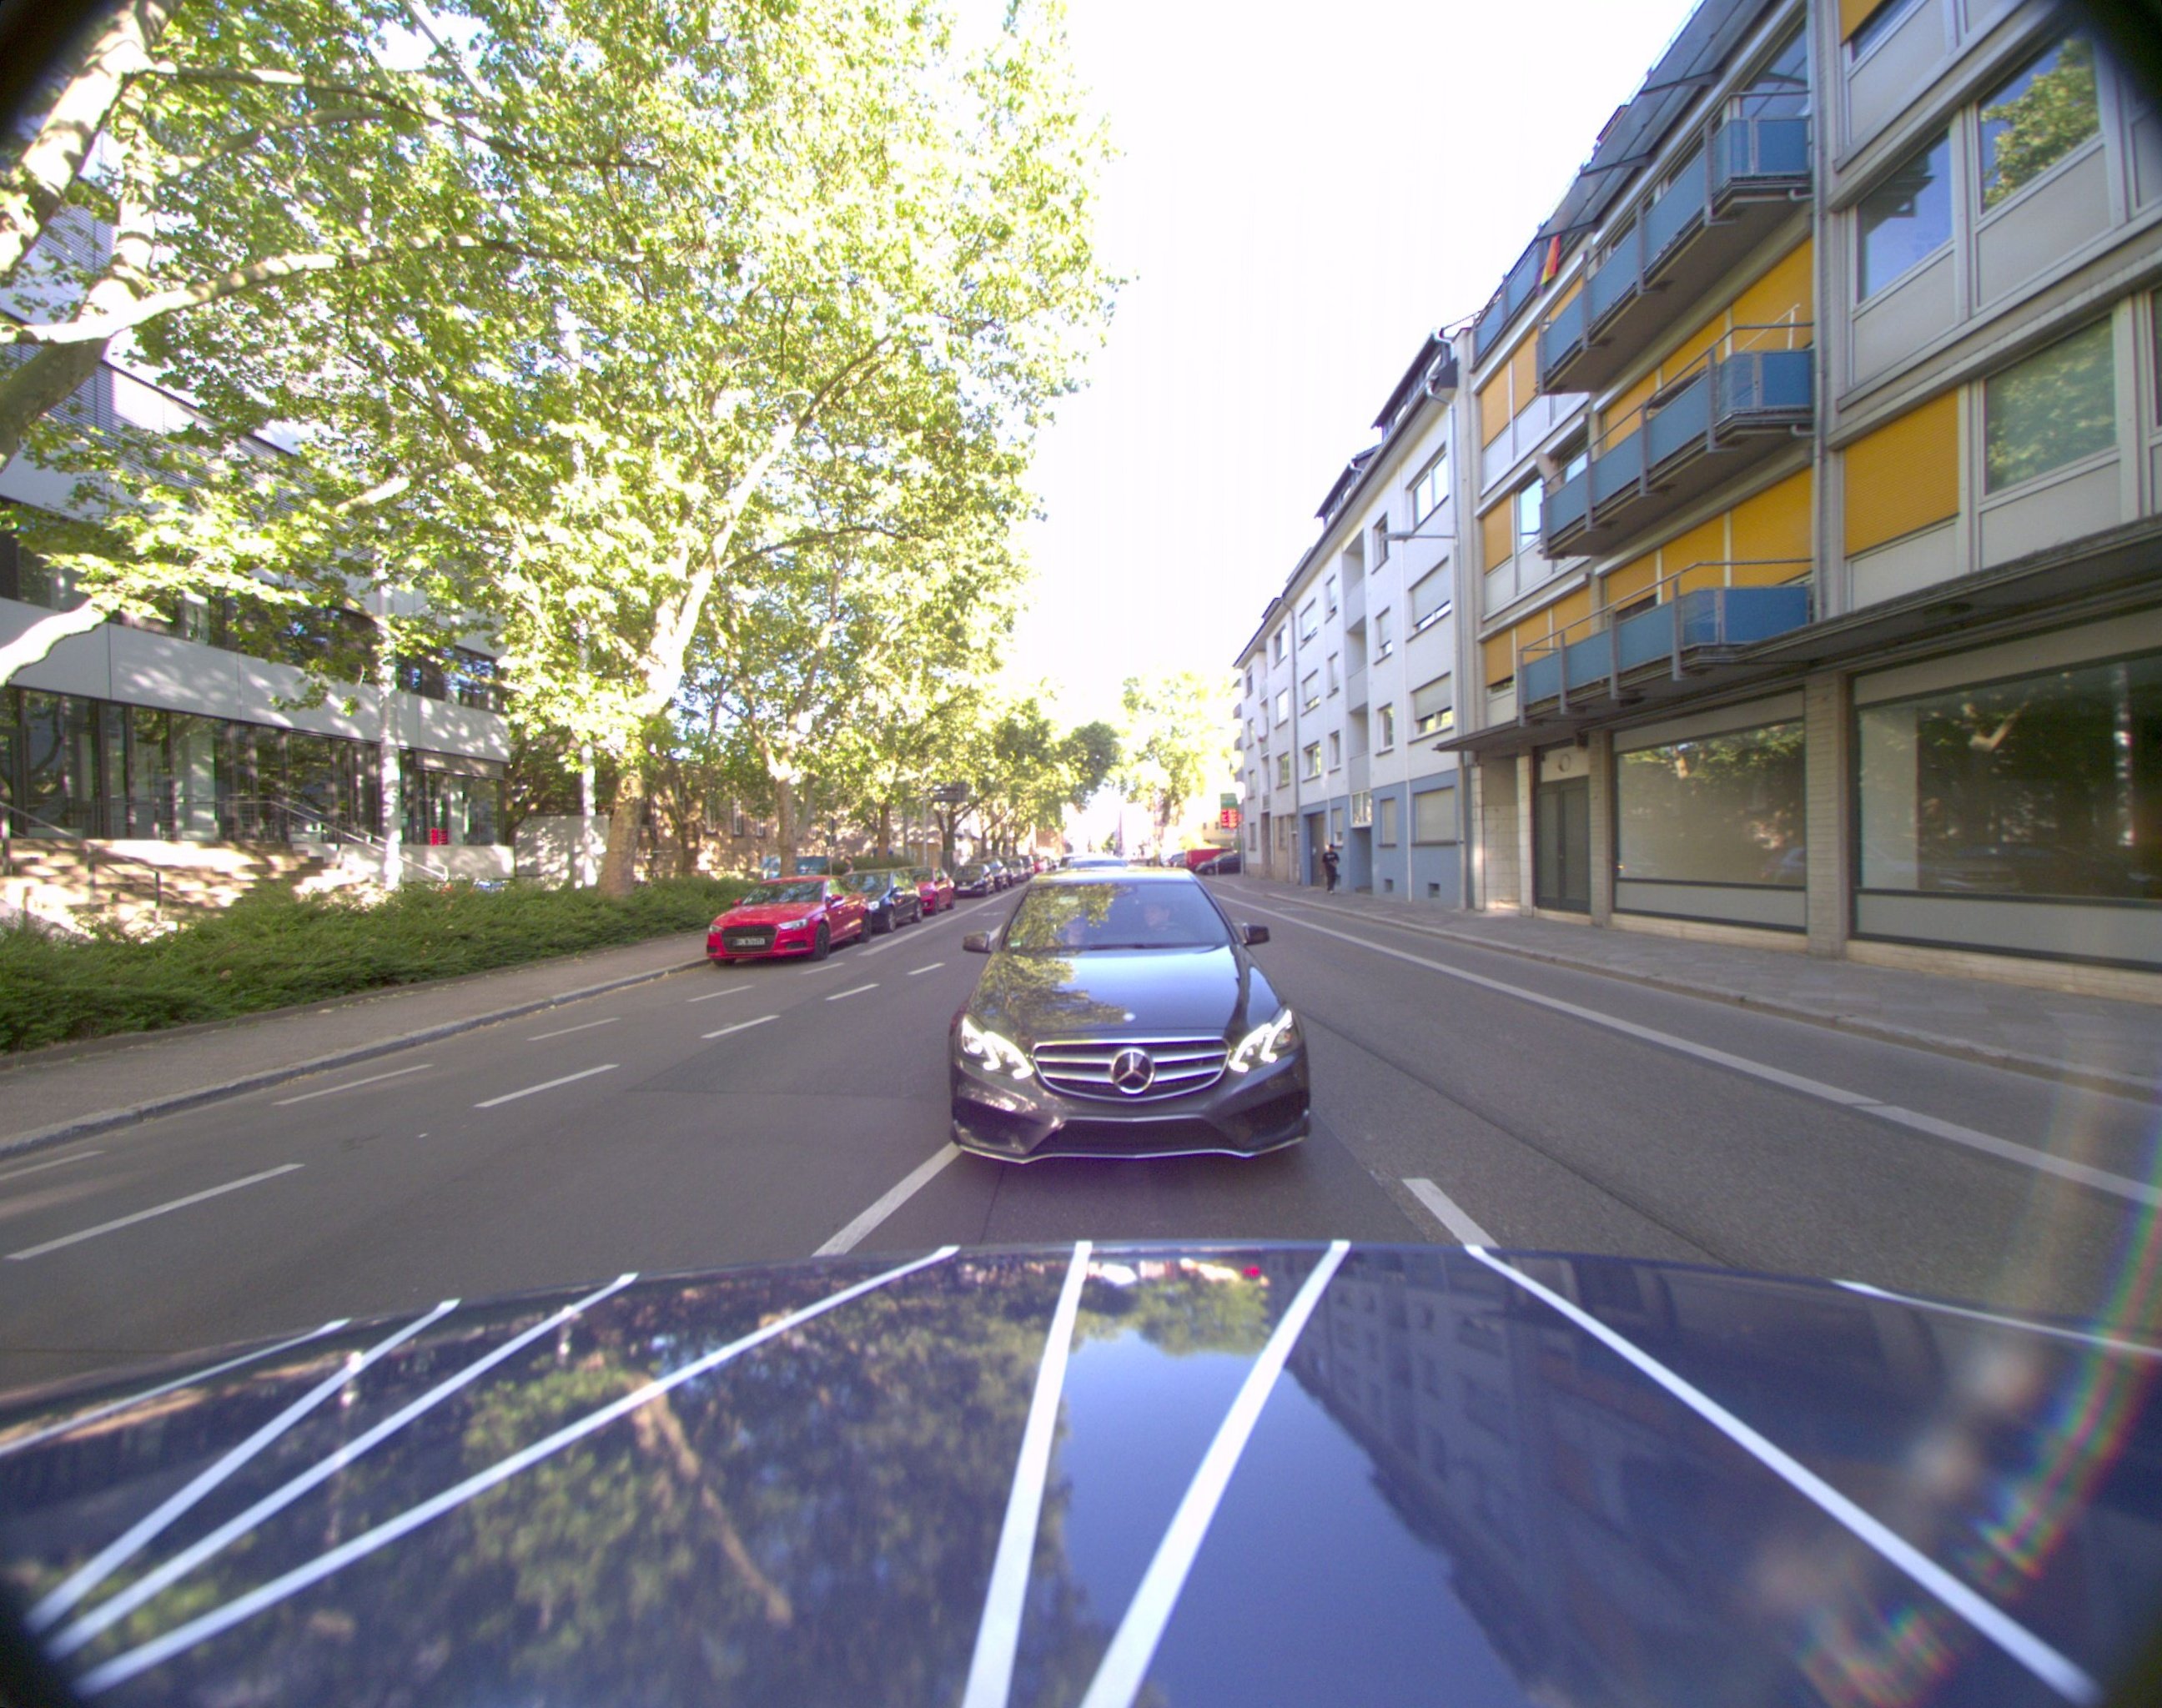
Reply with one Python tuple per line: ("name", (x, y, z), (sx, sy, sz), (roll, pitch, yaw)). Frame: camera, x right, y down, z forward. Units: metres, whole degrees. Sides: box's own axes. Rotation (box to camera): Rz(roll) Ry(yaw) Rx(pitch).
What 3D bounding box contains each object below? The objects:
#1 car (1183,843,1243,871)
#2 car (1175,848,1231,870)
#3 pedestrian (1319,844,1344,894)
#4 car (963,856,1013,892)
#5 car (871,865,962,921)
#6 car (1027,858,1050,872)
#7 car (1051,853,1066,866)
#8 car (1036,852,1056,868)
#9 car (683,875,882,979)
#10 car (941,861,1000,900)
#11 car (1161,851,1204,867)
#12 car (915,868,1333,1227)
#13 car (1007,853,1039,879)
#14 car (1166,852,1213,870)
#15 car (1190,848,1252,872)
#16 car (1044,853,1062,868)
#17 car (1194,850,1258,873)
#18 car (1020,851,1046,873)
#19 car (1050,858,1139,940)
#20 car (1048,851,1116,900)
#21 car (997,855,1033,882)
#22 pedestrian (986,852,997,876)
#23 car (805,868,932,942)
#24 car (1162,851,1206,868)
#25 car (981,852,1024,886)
("car", (10.414, 0.223, 60.134), (4.255, 1.907, 1.818), (-4, 0, 0))
("car", (10.051, 0.409, 62.716), (4.255, 1.461, 1.653), (-4, 0, 1))
("pedestrian", (8.554, 0.509, 25.937), (0.612, 1.685, 0.655), (-2, 1, 1))
("car", (-4.598, 0.966, 38.079), (1.835, 1.596, 4.161), (-2, 0, 1))
("car", (-5.044, 1.136, 23.845), (1.835, 1.459, 4.168), (-2, 0, 1))
("car", (-3.991, 1.028, 71.792), (1.835, 1.220, 4.259), (-2, 0, 1))
("car", (-3.047, 0.687, 102.953), (1.835, 1.667, 4.259), (-2, 0, 1))
("car", (-3.939, 0.669, 86.231), (1.835, 1.667, 4.259), (-2, 0, 1))
("car", (-5.131, 1.179, 13.774), (1.835, 1.396, 4.247), (-2, 0, 1))
("car", (-4.747, 1.105, 33.181), (1.835, 1.459, 4.168), (-2, 0, 1))
("car", (10.774, 0.516, 80.619), (4.255, 1.461, 1.653), (-4, 0, 1))
("car", (0.223, 0.918, 5.576), (1.849, 1.490, 4.302), (-1, 0, 1))
("car", (-4.180, 0.814, 55.644), (1.835, 1.750, 4.259), (-2, 0, 1))
("car", (10.432, 0.675, 73.196), (4.255, 1.461, 1.653), (-4, 0, 1))
("car", (10.483, 0.456, 57.054), (4.255, 1.461, 1.653), (-4, 0, 1))
("car", (-3.412, 0.788, 92.847), (1.835, 1.667, 4.259), (-2, 0, 1))
("car", (10.399, 0.519, 54.752), (4.255, 1.392, 1.653), (-4, 0, 1))
("car", (-4.146, 0.683, 66.352), (1.835, 1.839, 4.259), (-2, 0, 1))
("car", (0.302, 0.890, 16.893), (1.726, 1.530, 4.000), (-1, 0, 1))
("car", (0.147, 0.765, 29.299), (1.907, 1.678, 4.815), (-2, 0, 8))
("car", (-4.339, 0.948, 50.612), (1.835, 1.604, 4.259), (-2, 0, 1))
("pedestrian", (-6.711, 0.746, 57.073), (0.660, 1.849, 0.641), (-2, 1, 1))
("car", (-5.042, 1.152, 18.635), (1.835, 1.438, 4.168), (-2, 0, 1))
("car", (10.603, 0.542, 78.655), (4.255, 1.461, 1.653), (-4, 0, 1))
("car", (-4.511, 0.823, 44.119), (1.835, 1.787, 4.463), (-2, 0, 1))
